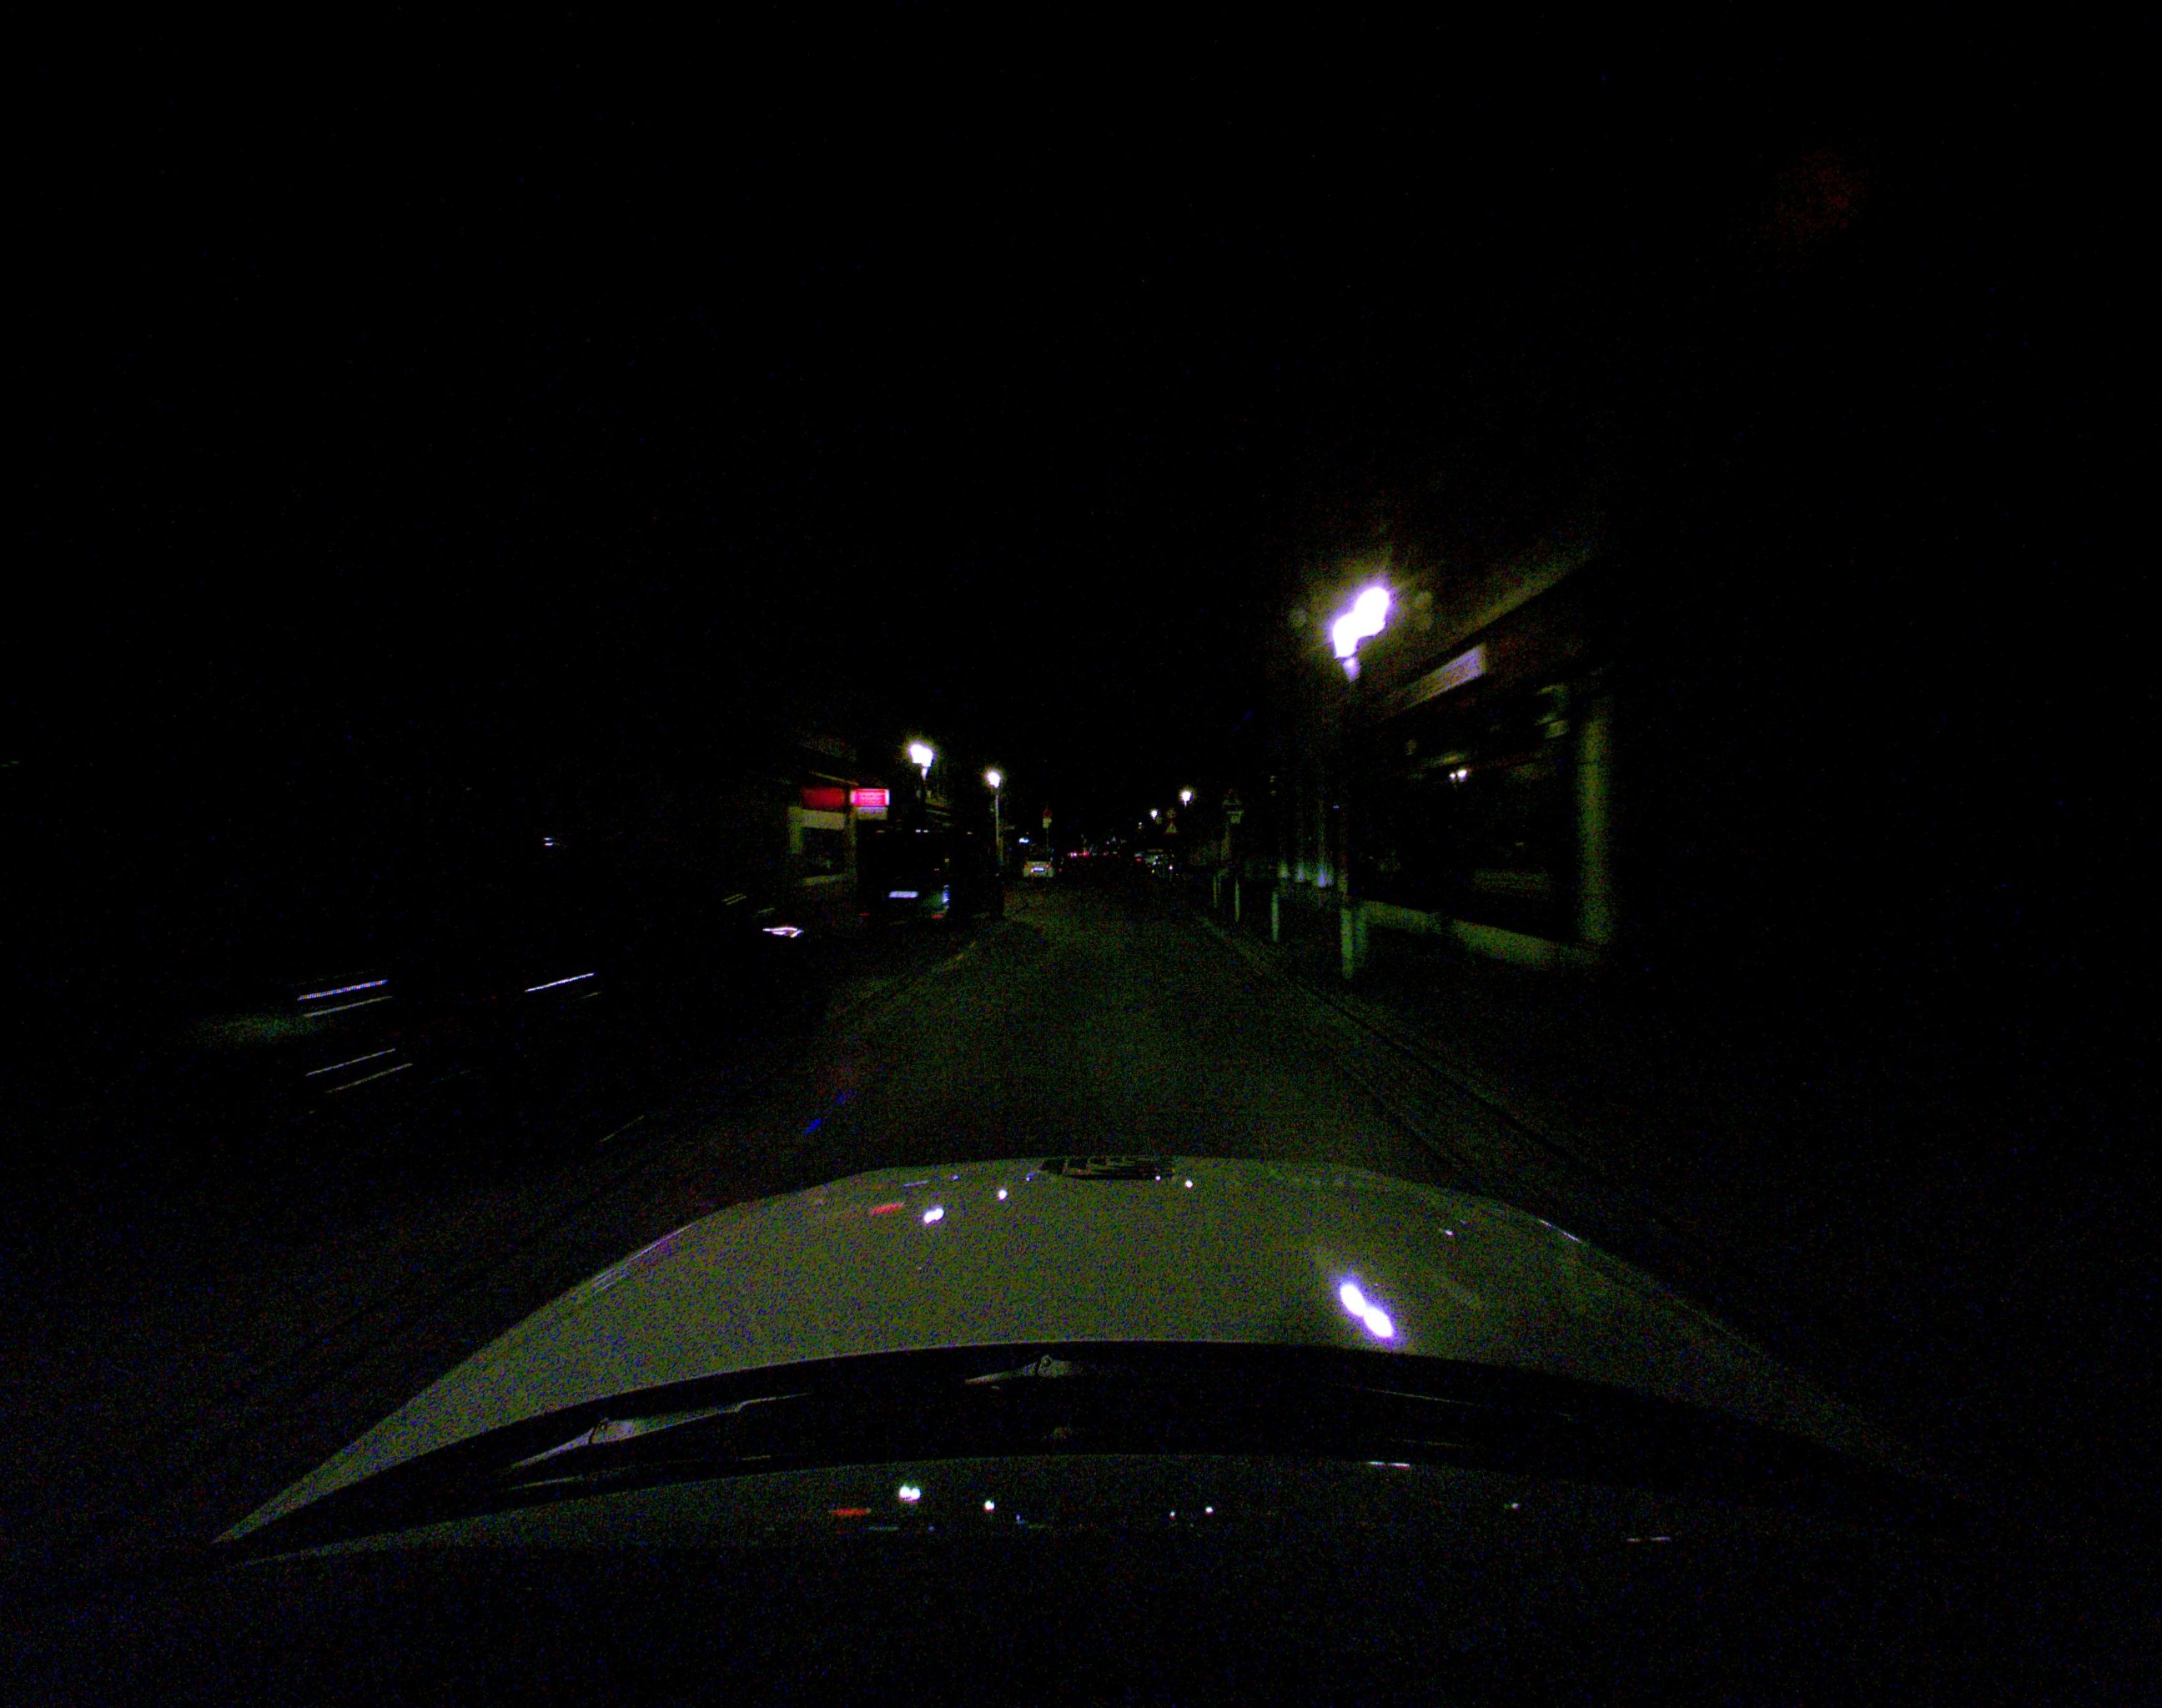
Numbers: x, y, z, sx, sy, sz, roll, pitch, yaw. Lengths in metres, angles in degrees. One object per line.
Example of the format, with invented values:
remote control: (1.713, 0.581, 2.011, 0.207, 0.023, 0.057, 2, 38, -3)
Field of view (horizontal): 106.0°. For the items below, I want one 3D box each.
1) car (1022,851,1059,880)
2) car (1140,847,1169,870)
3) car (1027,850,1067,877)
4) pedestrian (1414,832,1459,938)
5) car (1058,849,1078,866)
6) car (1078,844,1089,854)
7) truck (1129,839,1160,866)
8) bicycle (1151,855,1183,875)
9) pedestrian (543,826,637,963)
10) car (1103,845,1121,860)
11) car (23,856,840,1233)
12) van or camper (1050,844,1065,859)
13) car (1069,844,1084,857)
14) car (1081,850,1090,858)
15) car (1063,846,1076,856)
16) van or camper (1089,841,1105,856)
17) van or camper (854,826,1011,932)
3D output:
car: (-2.150, 0.567, 43.691, 1.722, 1.477, 3.847, 0, 0, 1)
car: (5.133, 0.291, 57.201, 1.782, 1.491, 4.061, -2, 0, 2)
car: (-1.984, 0.532, 48.978, 2.012, 1.488, 5.008, 2, 0, 1)
pedestrian: (5.298, 0.451, 12.146, 0.498, 1.547, 0.481, 0, 0, 8)
car: (-1.304, 0.337, 77.310, 1.670, 1.543, 4.224, 0, 0, -4)
car: (0.468, -0.917, 153.117, 1.836, 1.901, 3.840, -1, 0, -4)
truck: (5.614, -0.137, 72.744, 2.328, 2.312, 5.782, -1, 0, 1)
bicycle: (4.822, 0.632, 45.786, 1.749, 1.062, 0.346, -1, 0, -2)
pedestrian: (-6.540, 0.521, 10.897, 0.619, 1.745, 1.023, 0, 0, 2)
car: (4.111, -0.196, 107.974, 1.812, 1.828, 4.340, -1, 0, -4)
car: (-3.181, 0.741, 5.359, 1.710, 1.413, 4.388, 1, 0, 2)
van or camper: (-3.373, -0.325, 115.014, 1.863, 2.011, 4.254, 1, 0, -5)
car: (-0.667, -0.566, 120.304, 1.989, 1.823, 3.995, -1, 0, -3)
car: (0.804, 0.030, 147.082, 1.528, 1.418, 3.840, -1, 0, -4)
car: (-1.883, -0.486, 134.515, 1.989, 1.702, 3.995, -1, 0, -3)
van or camper: (2.548, -0.888, 134.148, 2.105, 2.317, 4.254, -2, 0, -5)
van or camper: (-2.949, 0.444, 17.475, 1.836, 1.942, 5.164, 0, 0, 7)
